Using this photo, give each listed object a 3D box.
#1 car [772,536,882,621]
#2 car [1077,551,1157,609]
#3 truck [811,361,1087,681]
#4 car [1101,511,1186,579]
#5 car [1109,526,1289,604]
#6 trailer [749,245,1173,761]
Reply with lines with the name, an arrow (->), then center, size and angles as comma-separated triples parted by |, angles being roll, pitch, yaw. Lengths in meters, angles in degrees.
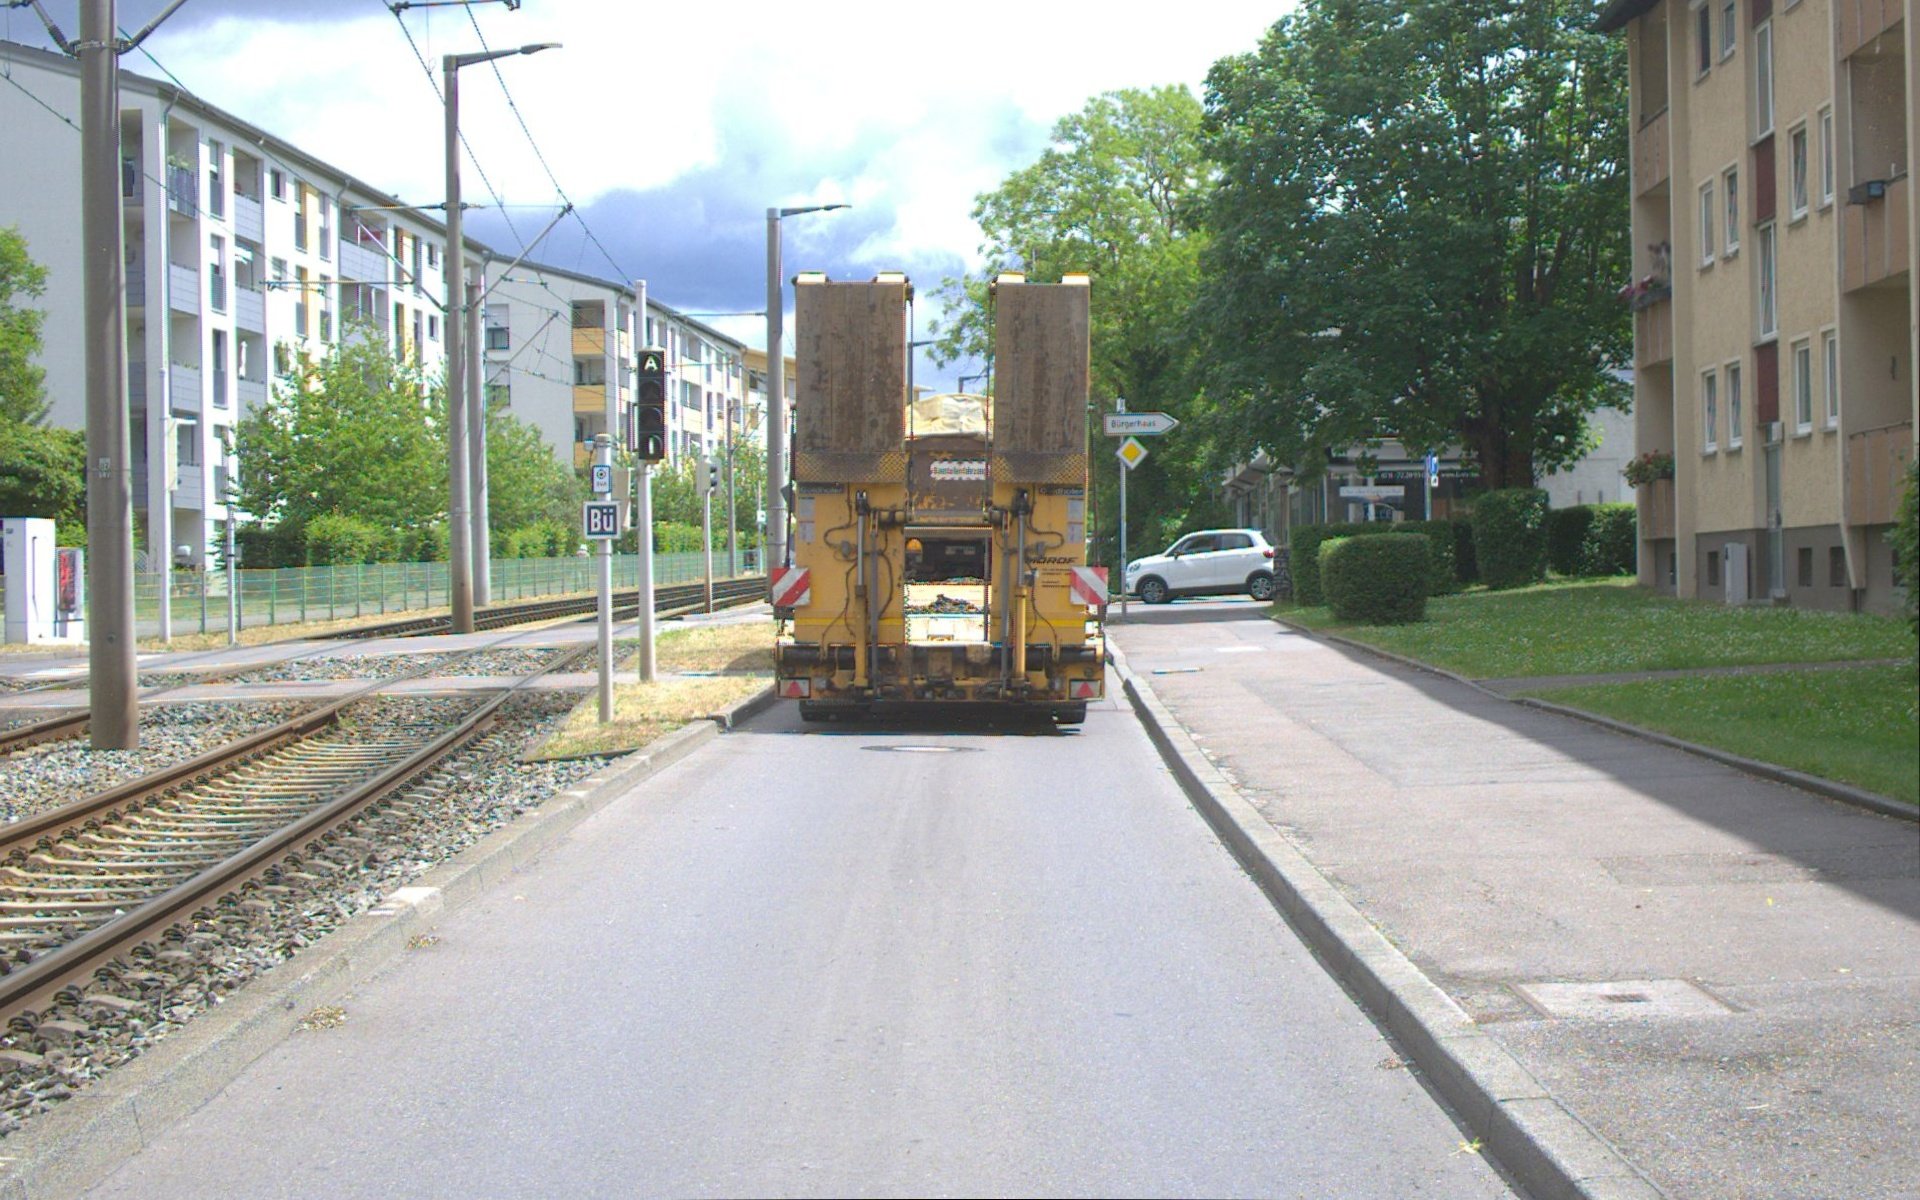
car -> -2.702, -0.441, 70.668 | 1.802, 1.646, 4.131 | -2, 0, 4
car -> 4.280, -0.562, 94.059 | 1.993, 1.382, 4.000 | -2, 2, 1
truck -> -0.209, -0.973, 40.796 | 2.833, 3.318, 7.985 | -2, 2, -1
car -> 4.722, -1.438, 88.973 | 1.993, 1.612, 4.000 | -2, 2, 1
car -> 5.224, -0.766, 74.939 | 3.600, 1.579, 1.999 | -2, 0, 13
trailer -> -0.123, -0.914, 31.636 | 3.050, 3.759, 11.614 | -2, 2, -1
